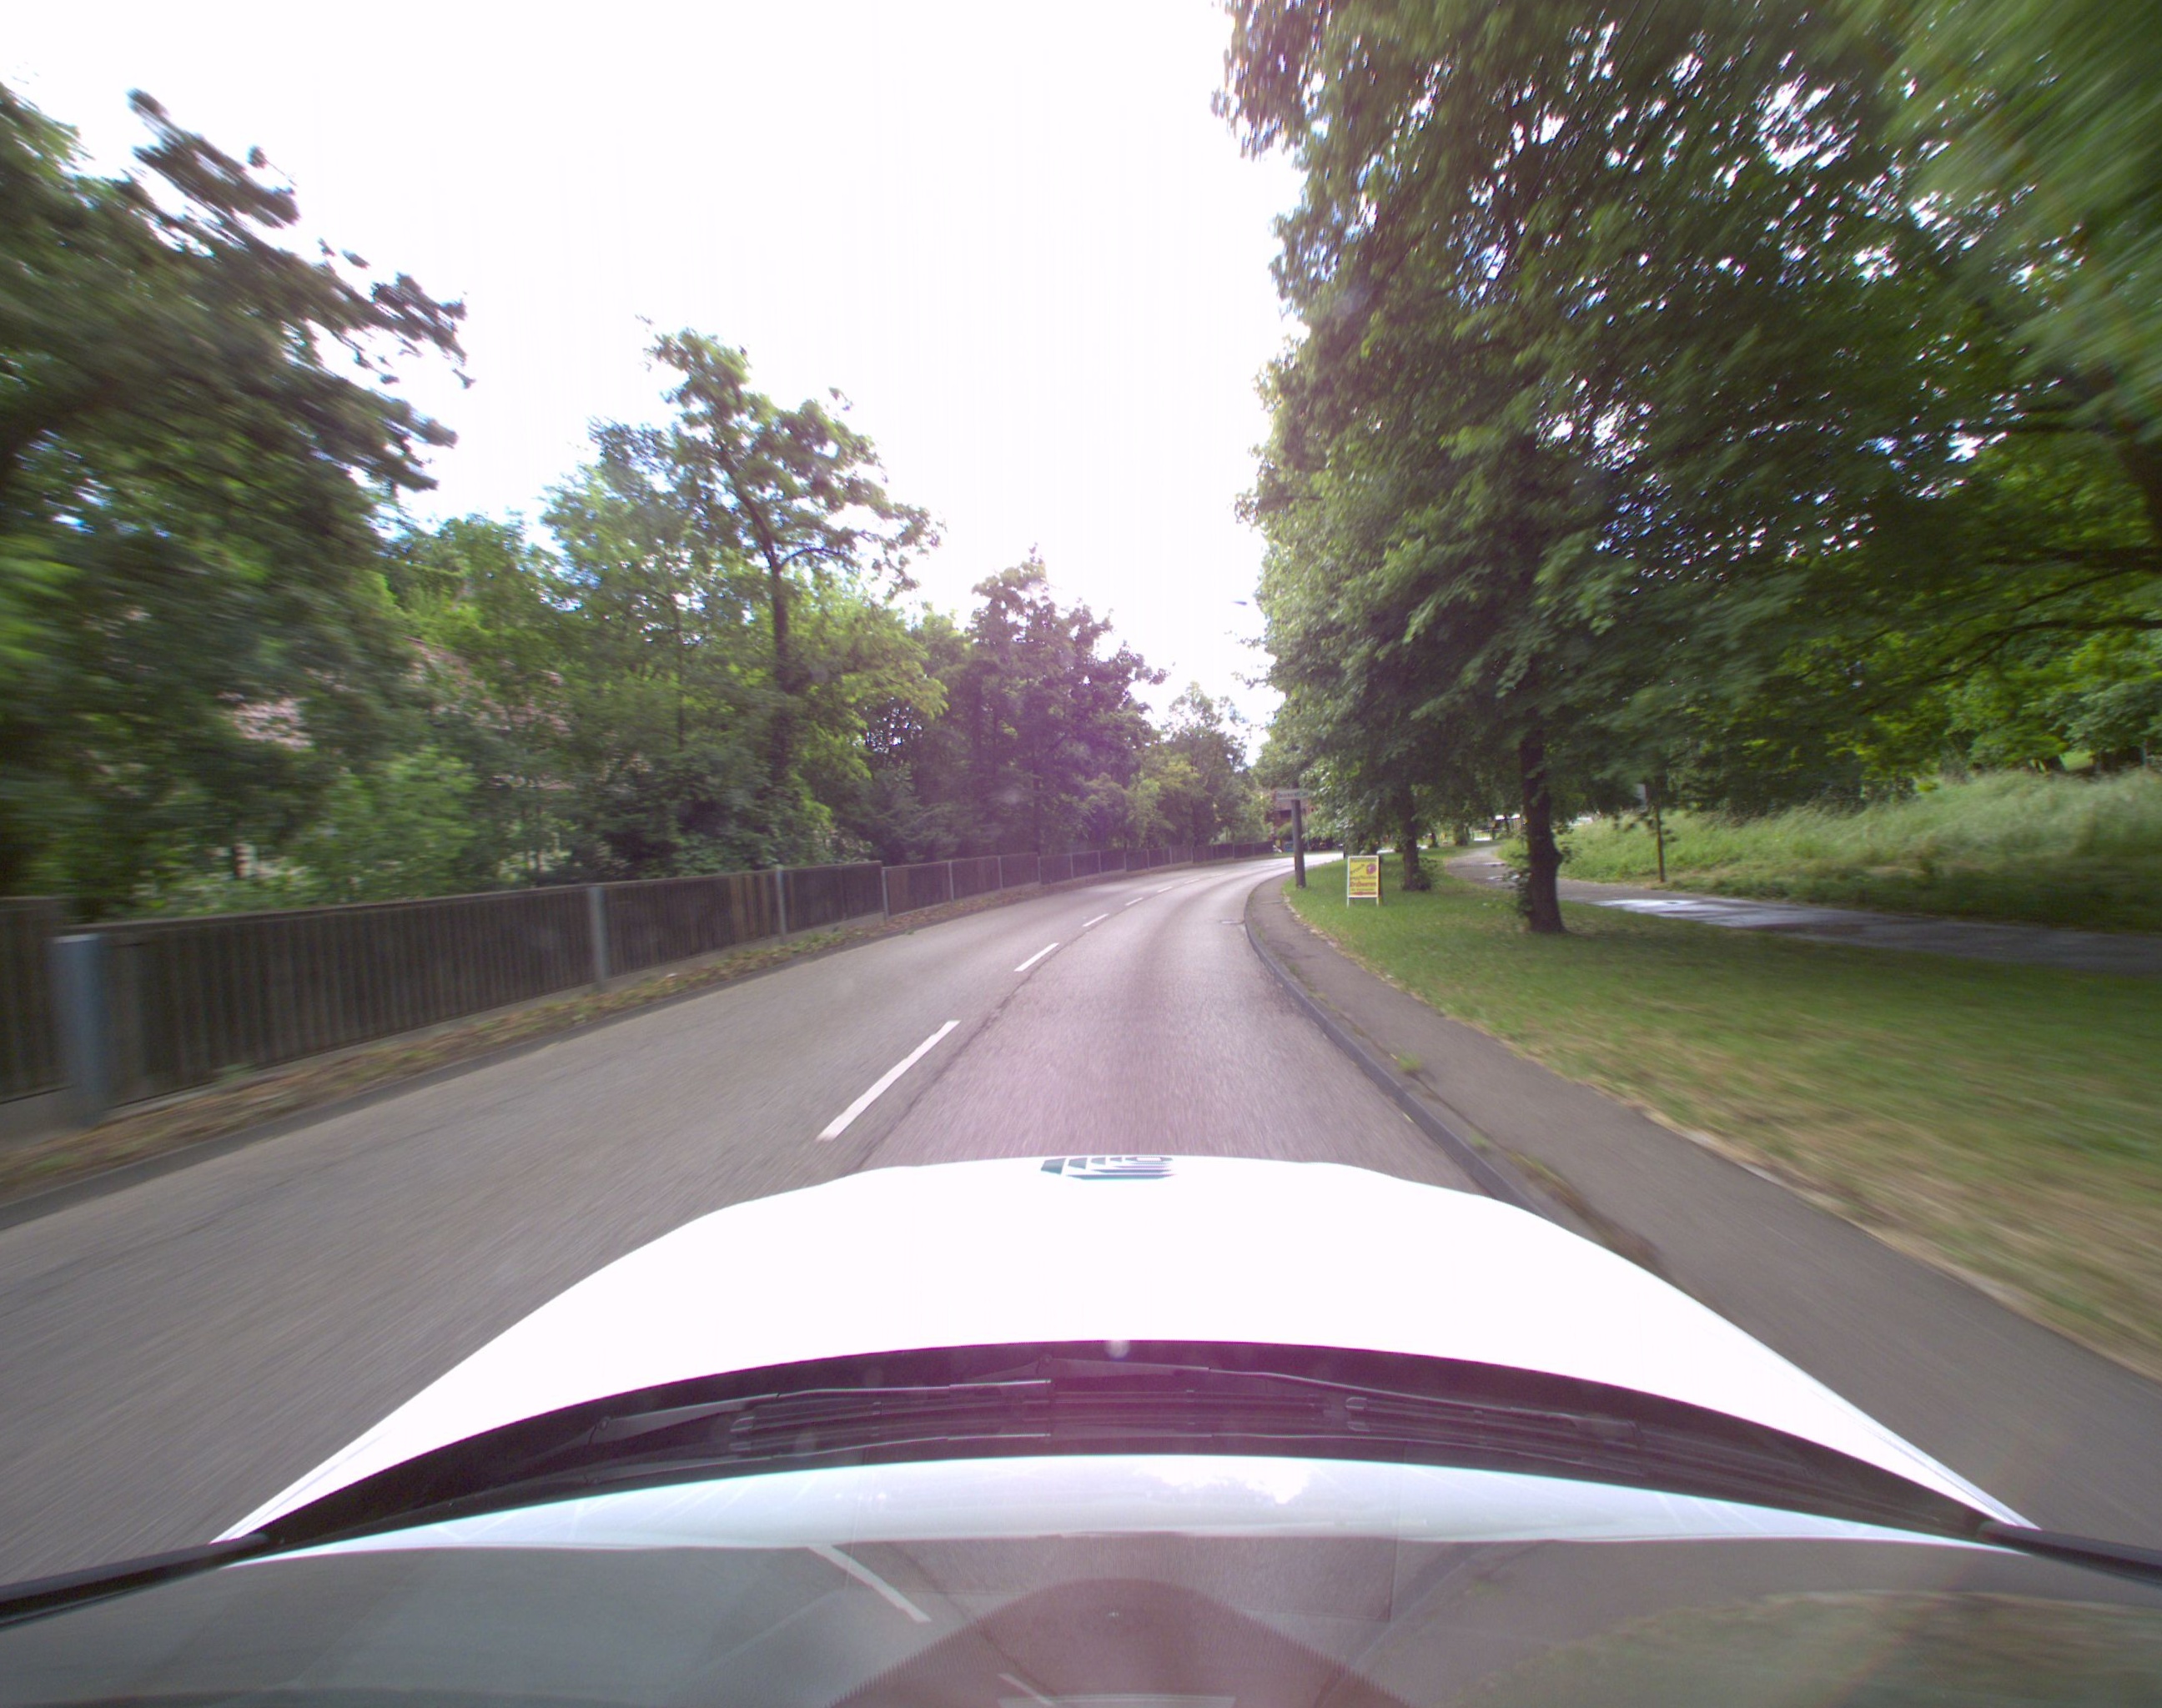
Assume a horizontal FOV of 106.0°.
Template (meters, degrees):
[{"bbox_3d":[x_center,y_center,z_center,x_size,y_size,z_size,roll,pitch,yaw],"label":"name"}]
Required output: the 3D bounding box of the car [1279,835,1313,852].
[{"bbox_3d":[25.058,-1.215,94.867,1.974,1.618,4.476,-6,-1,41],"label":"car"}]
